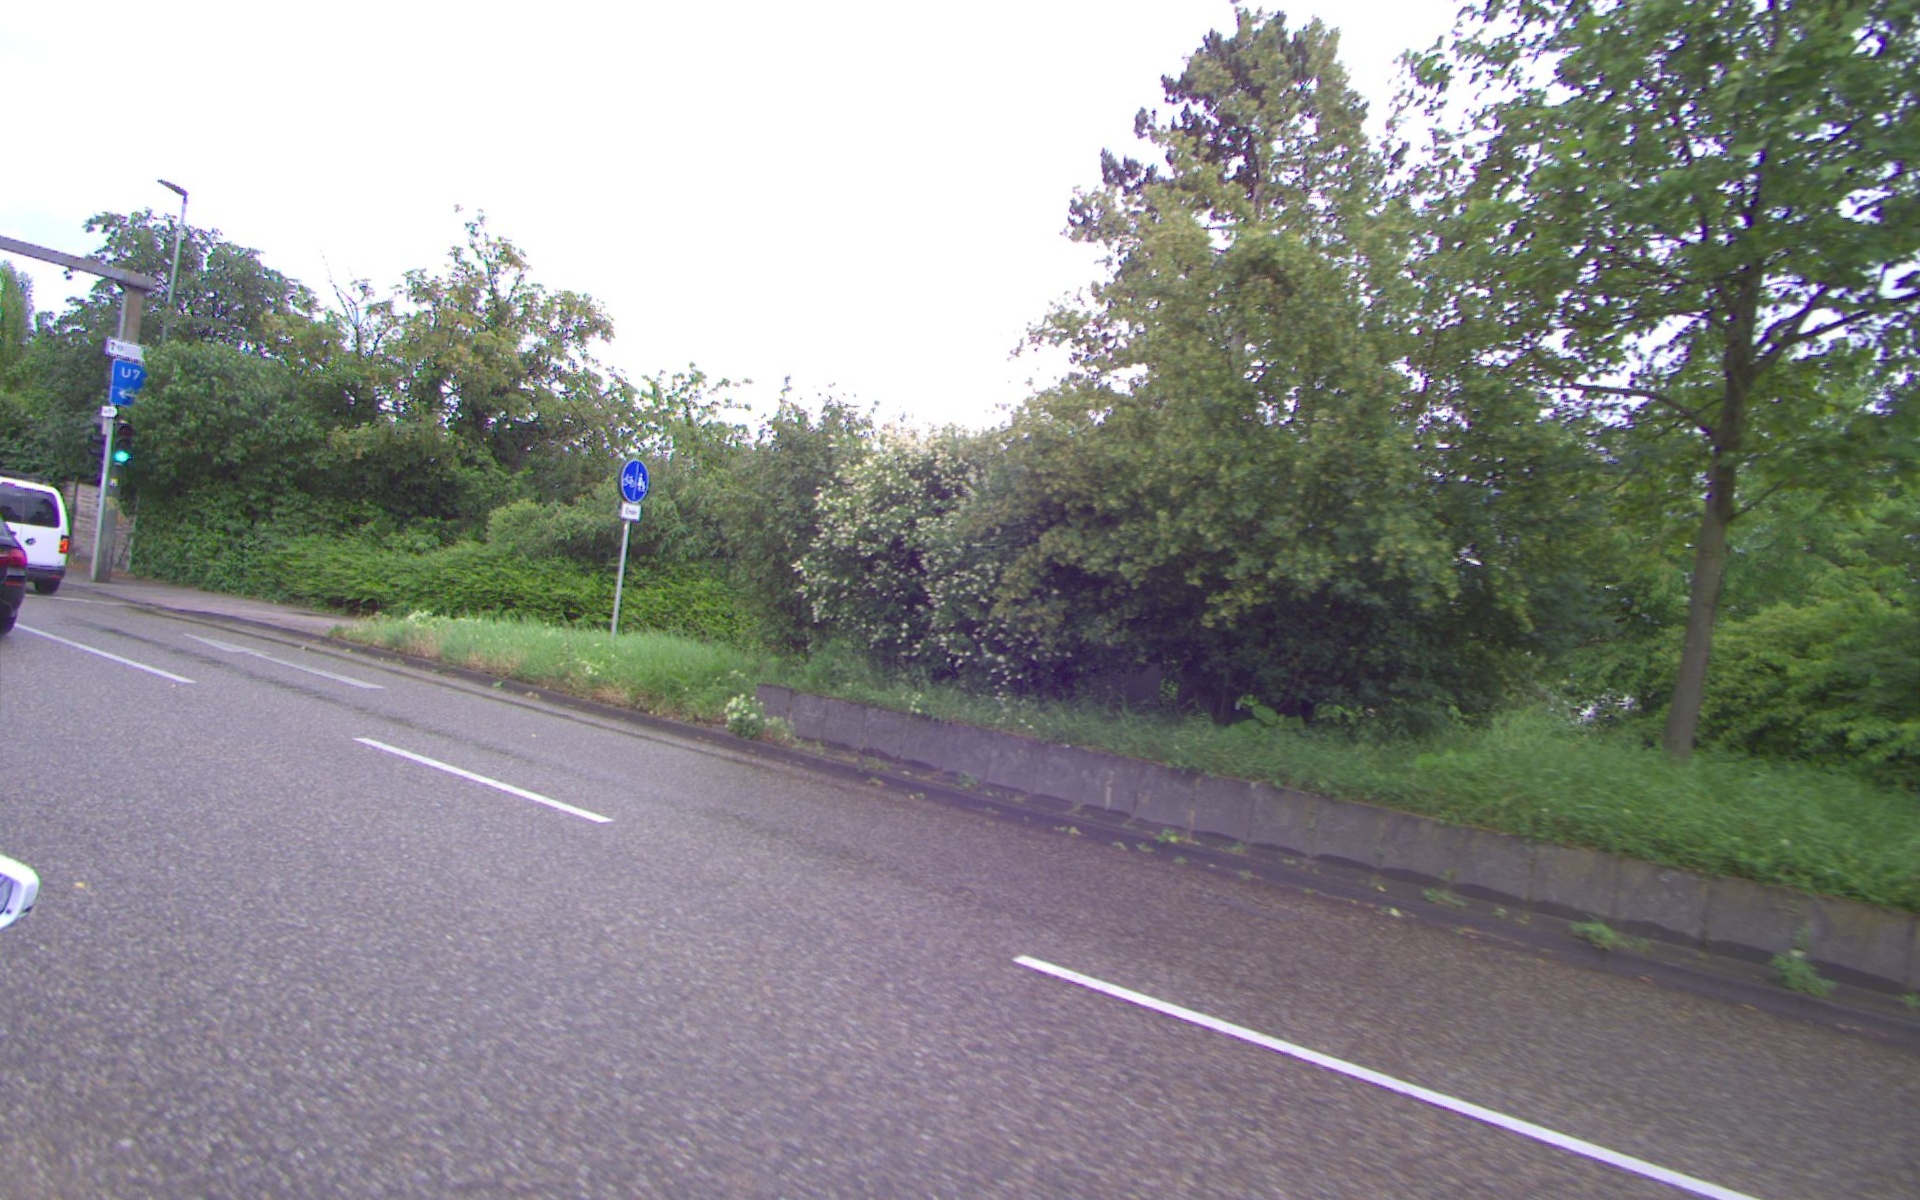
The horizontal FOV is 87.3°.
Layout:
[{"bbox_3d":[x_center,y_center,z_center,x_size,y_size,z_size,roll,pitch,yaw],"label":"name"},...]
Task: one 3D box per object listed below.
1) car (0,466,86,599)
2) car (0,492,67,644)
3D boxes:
[{"bbox_3d":[-16.539,-1.313,16.803,3.742,1.900,1.767,10,1,32],"label":"car"},{"bbox_3d":[-11.308,-0.552,10.447,3.934,1.458,1.903,6,-3,32],"label":"car"}]
